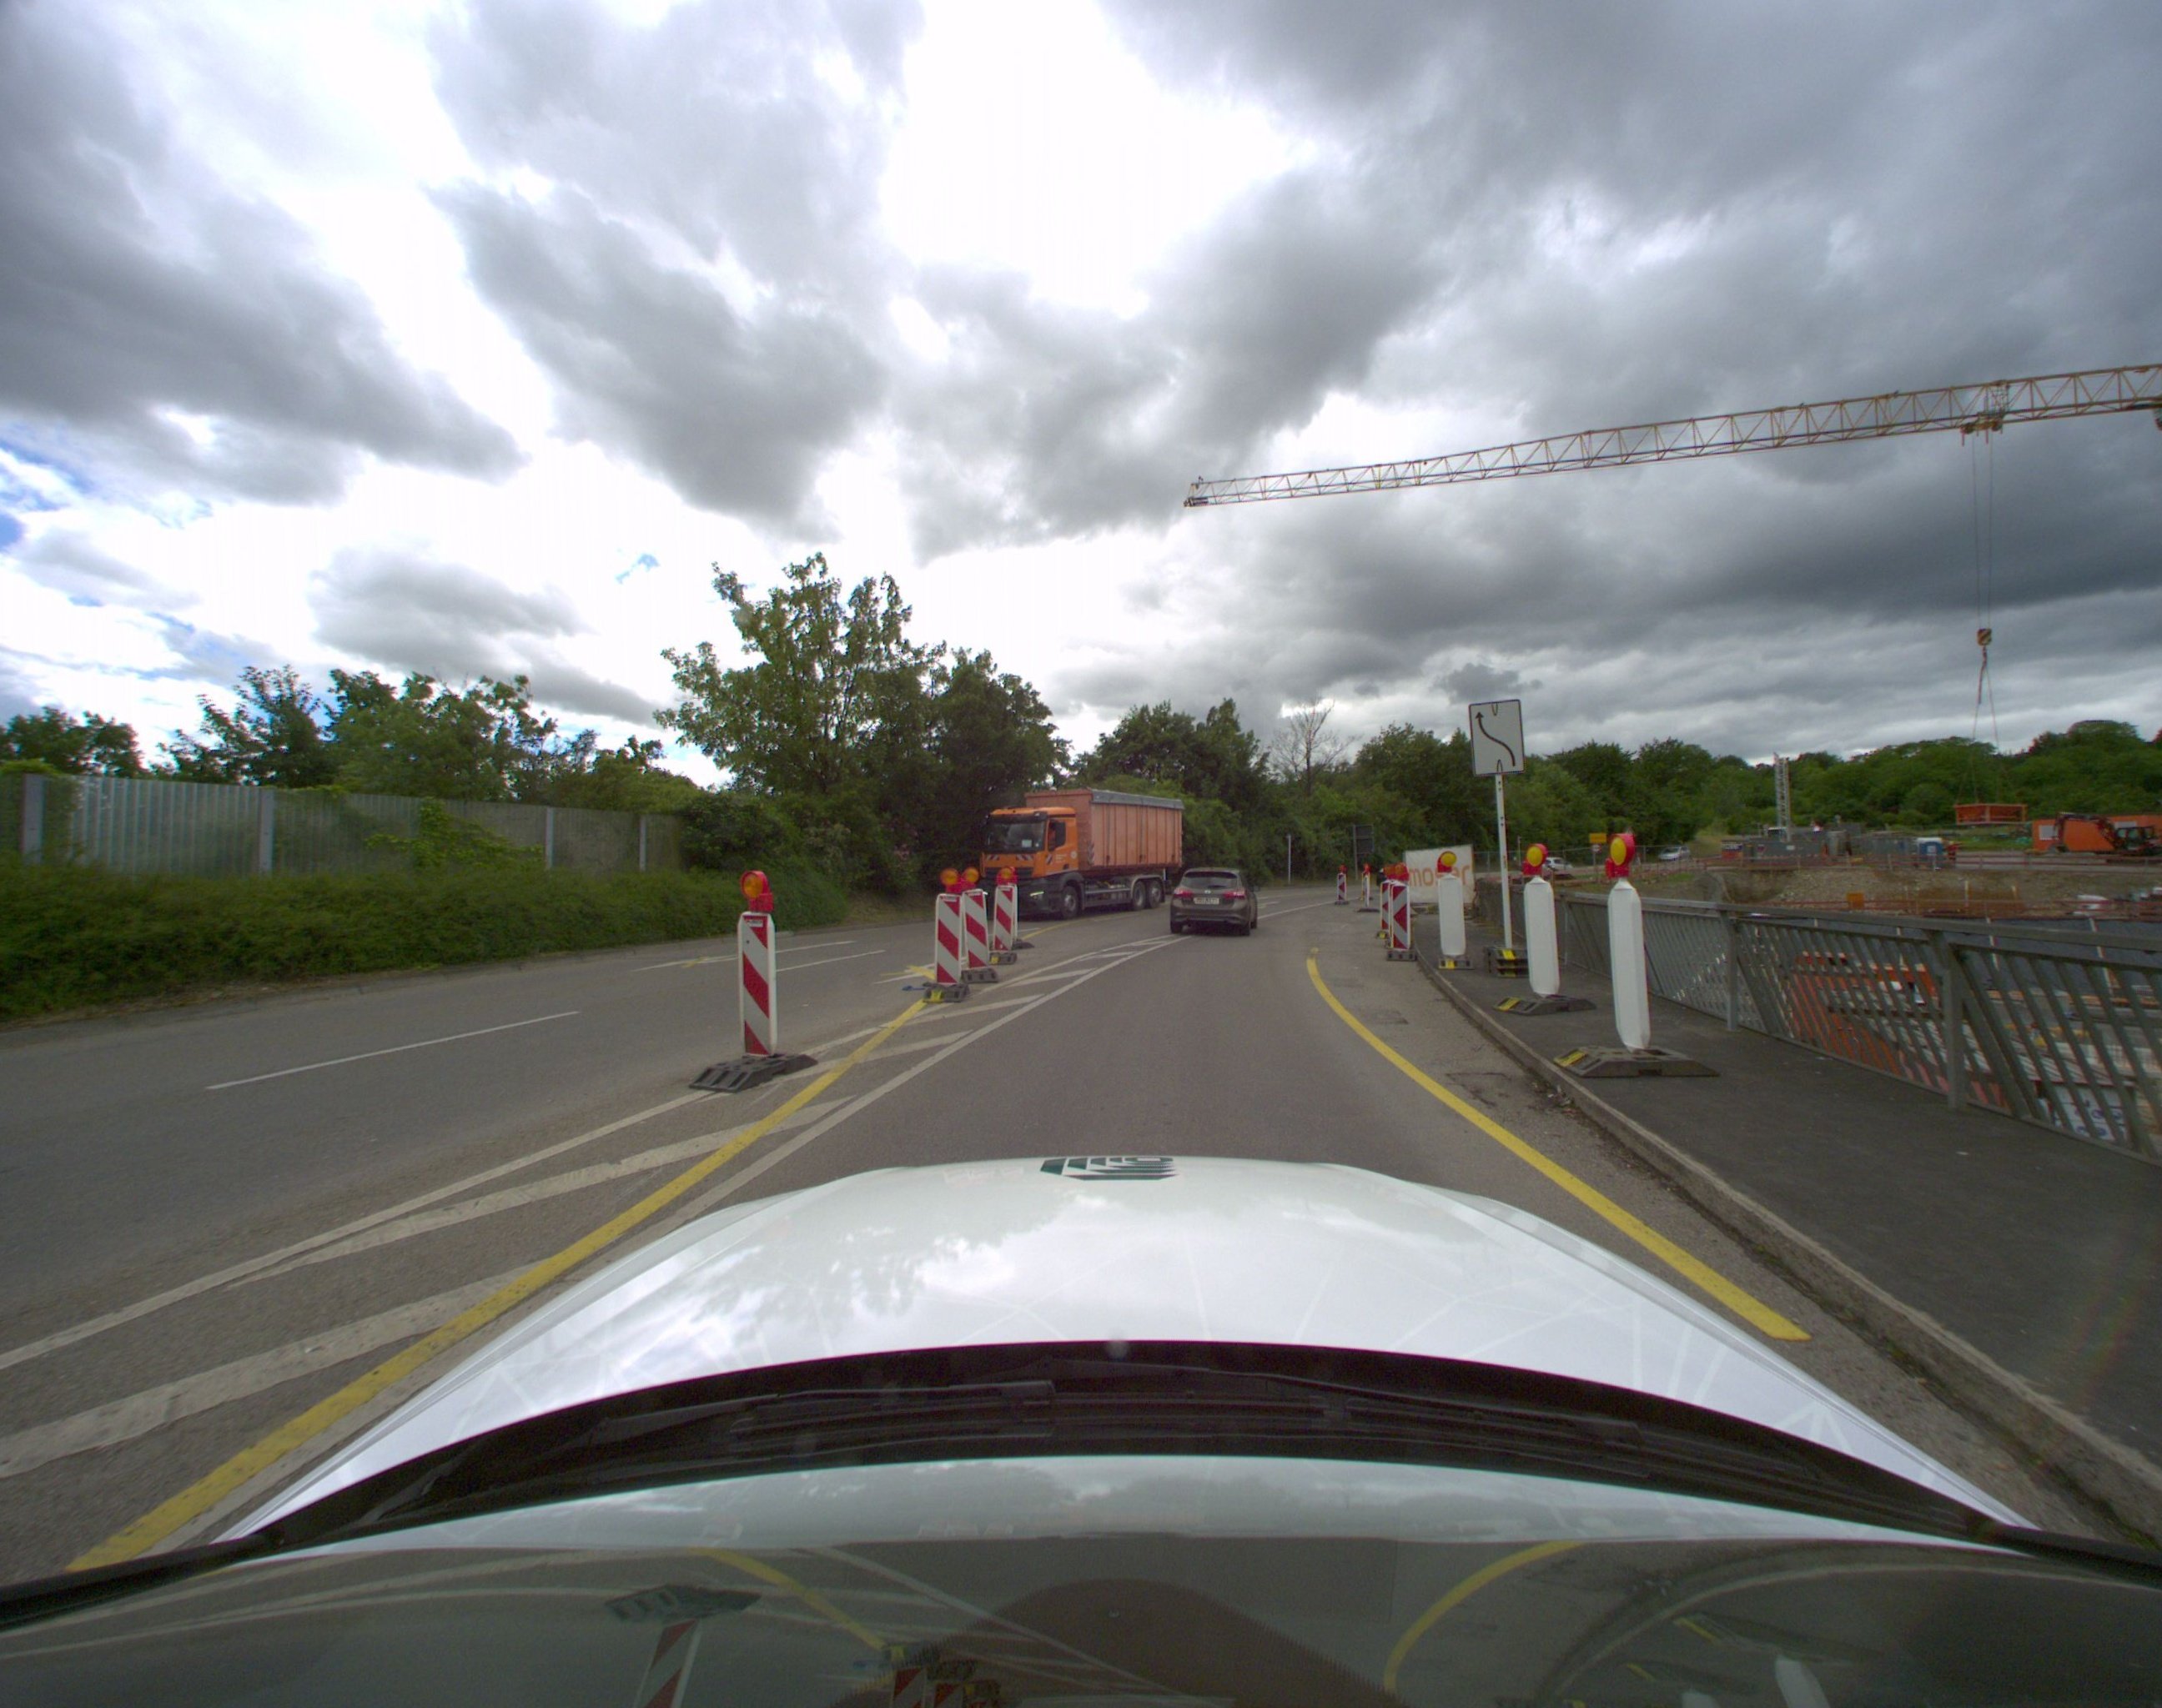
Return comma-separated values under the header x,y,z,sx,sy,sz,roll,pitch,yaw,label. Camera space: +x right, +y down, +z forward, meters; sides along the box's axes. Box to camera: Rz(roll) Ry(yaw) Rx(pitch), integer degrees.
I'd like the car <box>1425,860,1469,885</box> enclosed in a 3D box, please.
x,y,z,sx,sy,sz,roll,pitch,yaw,label
23.768,1.171,52.789,1.616,1.545,4.378,-1,-1,38,car

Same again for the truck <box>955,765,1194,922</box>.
x,y,z,sx,sy,sz,roll,pitch,yaw,label
0.280,-0.261,26.882,3.080,4.221,9.854,-1,-1,31,truck

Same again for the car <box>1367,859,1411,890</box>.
x,y,z,sx,sy,sz,roll,pitch,yaw,label
16.582,1.067,43.747,1.802,1.552,3.811,-1,0,27,car

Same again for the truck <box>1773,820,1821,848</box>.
x,y,z,sx,sy,sz,roll,pitch,yaw,label
92.911,-2.586,105.605,8.418,3.336,2.798,-2,-1,-36,truck

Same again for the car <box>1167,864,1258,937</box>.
x,y,z,sx,sy,sz,roll,pitch,yaw,label
3.252,1.012,19.558,1.784,1.552,4.015,0,-1,15,car

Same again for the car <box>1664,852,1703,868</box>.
x,y,z,sx,sy,sz,roll,pitch,yaw,label
59.166,0.578,79.999,4.201,1.552,1.645,0,0,-32,car

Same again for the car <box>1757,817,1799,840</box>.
x,y,z,sx,sy,sz,roll,pitch,yaw,label
67.482,-2.450,78.858,4.016,2.014,1.979,0,-2,-34,car

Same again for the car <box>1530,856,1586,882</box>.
x,y,z,sx,sy,sz,roll,pitch,yaw,label
32.976,1.032,56.282,4.015,1.675,1.699,0,-2,-33,car

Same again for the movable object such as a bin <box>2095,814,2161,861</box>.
x,y,z,sx,sy,sz,roll,pitch,yaw,label
73.116,-1.123,56.806,1.849,3.077,2.769,0,-3,-37,movable object such as a bin
